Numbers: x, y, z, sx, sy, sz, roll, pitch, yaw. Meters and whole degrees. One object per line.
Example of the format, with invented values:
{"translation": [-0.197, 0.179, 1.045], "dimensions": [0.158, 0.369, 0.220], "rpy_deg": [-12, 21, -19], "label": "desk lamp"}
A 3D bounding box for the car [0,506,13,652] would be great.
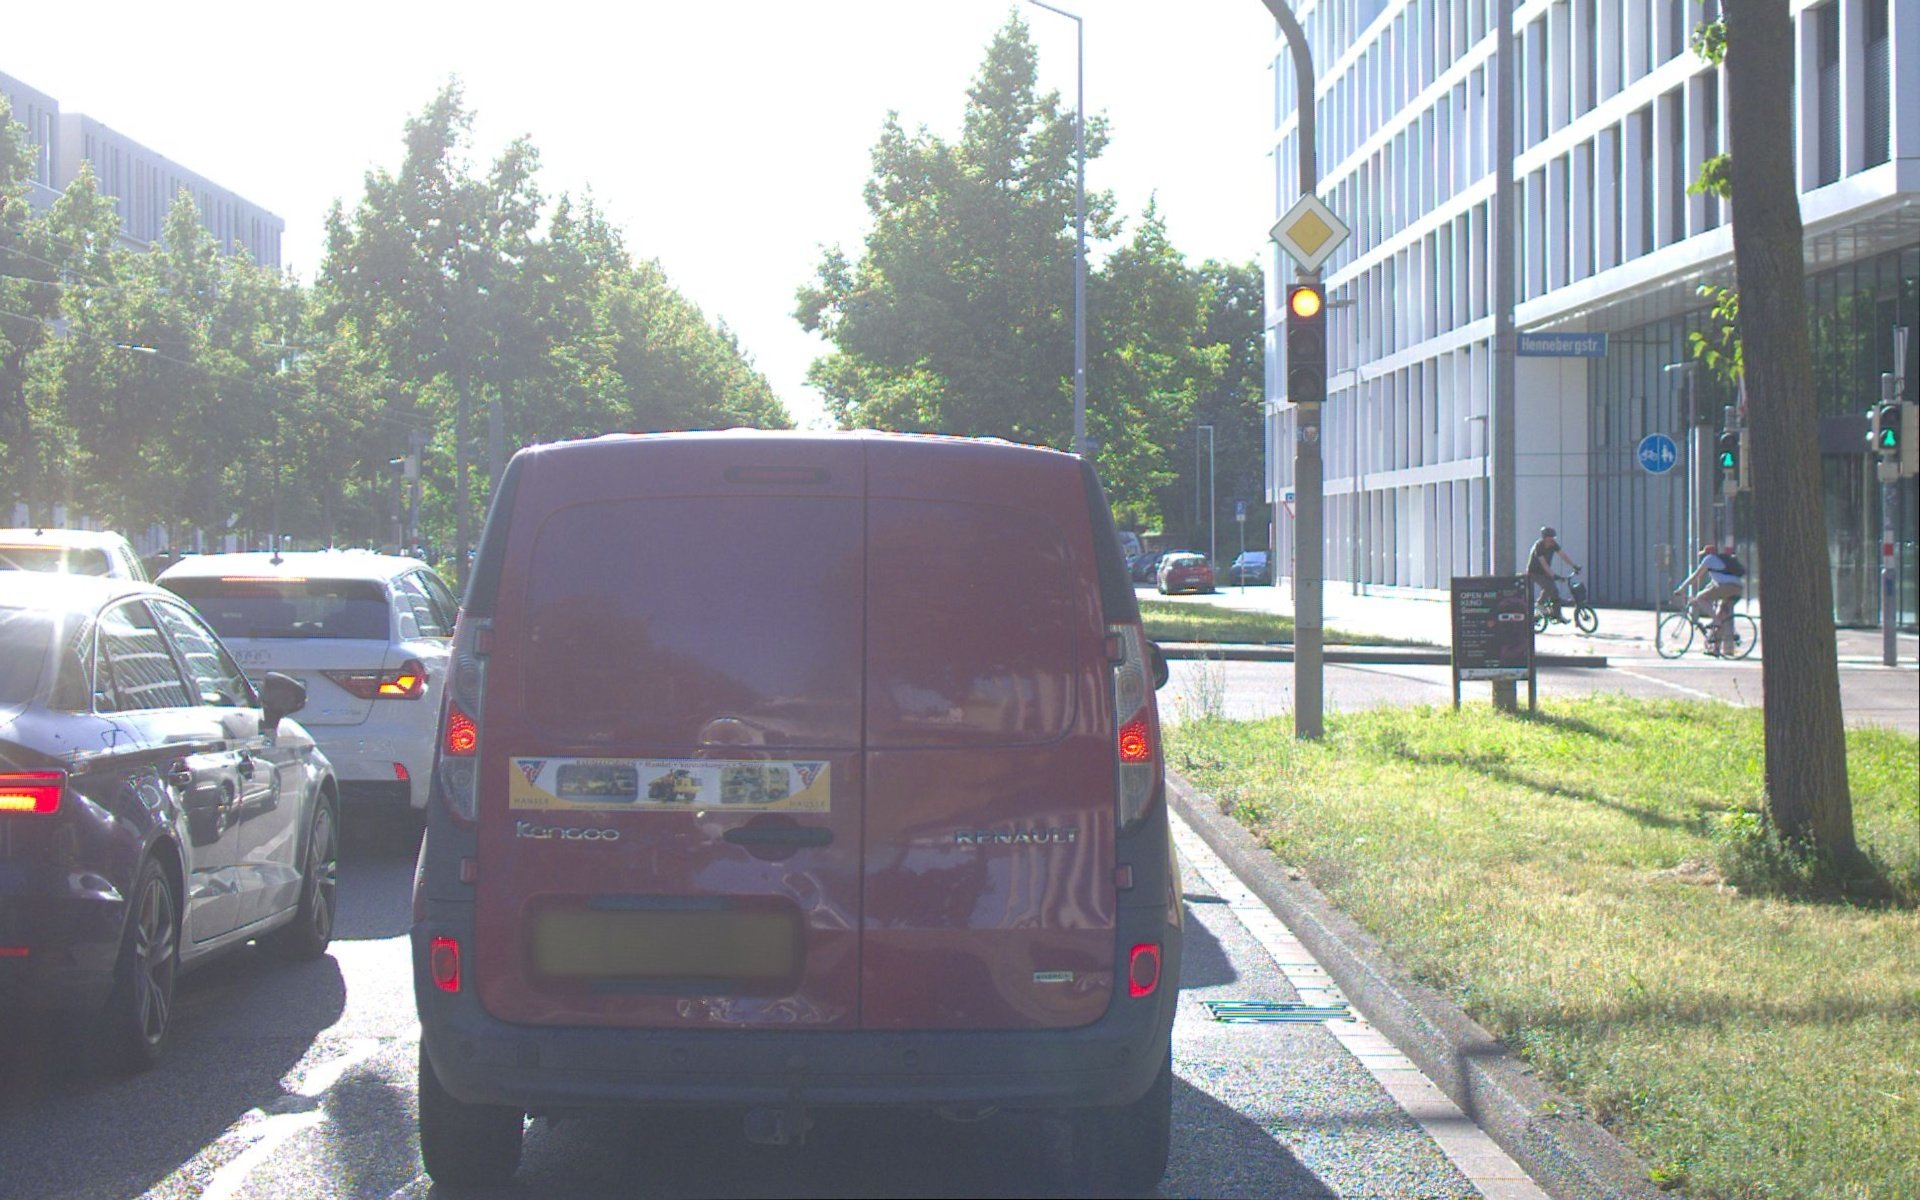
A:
{"translation": [-11.615, -0.226, 34.943], "dimensions": [4.565, 1.442, 1.800], "rpy_deg": [1, 2, 45], "label": "car"}

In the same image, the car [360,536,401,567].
{"translation": [-37.550, -3.167, 222.863], "dimensions": [1.993, 2.007, 4.000], "rpy_deg": [0, 1, -1], "label": "car"}

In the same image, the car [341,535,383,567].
{"translation": [-37.761, -3.109, 217.239], "dimensions": [1.993, 2.007, 4.000], "rpy_deg": [0, 1, -1], "label": "car"}

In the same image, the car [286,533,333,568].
{"translation": [-37.680, -2.894, 199.221], "dimensions": [1.993, 2.007, 4.000], "rpy_deg": [0, 1, -1], "label": "car"}

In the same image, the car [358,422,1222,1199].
{"translation": [-0.389, 0.470, 9.349], "dimensions": [1.842, 1.774, 4.000], "rpy_deg": [0, 1, -1], "label": "car"}

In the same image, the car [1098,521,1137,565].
{"translation": [9.069, -3.277, 198.322], "dimensions": [1.993, 2.488, 4.987], "rpy_deg": [0, 1, -1], "label": "car"}

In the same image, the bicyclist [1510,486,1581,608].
{"translation": [10.151, -0.919, 59.622], "dimensions": [0.815, 2.085, 0.943], "rpy_deg": [-1, 1, -27], "label": "bicyclist"}

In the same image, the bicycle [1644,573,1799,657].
{"translation": [10.661, 0.199, 48.266], "dimensions": [0.818, 1.111, 2.847], "rpy_deg": [0, 1, -17], "label": "bicycle"}

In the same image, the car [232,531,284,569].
{"translation": [-37.229, -2.679, 182.407], "dimensions": [1.993, 2.007, 4.000], "rpy_deg": [0, 1, -1], "label": "car"}

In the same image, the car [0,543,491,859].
{"translation": [-3.542, 0.431, 17.587], "dimensions": [1.803, 1.421, 3.901], "rpy_deg": [0, 1, -1], "label": "car"}

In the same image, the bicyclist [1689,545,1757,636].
{"translation": [10.670, -0.135, 48.070], "dimensions": [0.818, 1.270, 0.683], "rpy_deg": [0, 1, 2], "label": "bicyclist"}

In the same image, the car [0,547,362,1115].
{"translation": [-3.166, 0.553, 10.879], "dimensions": [1.842, 1.421, 4.339], "rpy_deg": [0, 1, -1], "label": "car"}

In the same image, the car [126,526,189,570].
{"translation": [-36.968, -2.387, 158.421], "dimensions": [1.993, 2.007, 4.000], "rpy_deg": [0, 1, -1], "label": "car"}

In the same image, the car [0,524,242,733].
{"translation": [-7.013, 0.169, 27.619], "dimensions": [1.515, 1.487, 4.216], "rpy_deg": [3, 1, 0], "label": "car"}

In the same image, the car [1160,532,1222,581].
{"translation": [8.577, -1.629, 127.848], "dimensions": [1.993, 1.776, 4.000], "rpy_deg": [0, 1, -1], "label": "car"}

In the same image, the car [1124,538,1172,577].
{"translation": [8.782, -2.007, 160.615], "dimensions": [1.993, 1.776, 4.000], "rpy_deg": [0, 1, -1], "label": "car"}

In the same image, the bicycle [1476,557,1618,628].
{"translation": [10.153, -0.151, 59.627], "dimensions": [0.815, 1.186, 2.952], "rpy_deg": [-1, 1, -27], "label": "bicycle"}

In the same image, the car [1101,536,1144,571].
{"translation": [8.484, -2.442, 179.813], "dimensions": [1.993, 1.776, 4.000], "rpy_deg": [0, 1, -1], "label": "car"}
